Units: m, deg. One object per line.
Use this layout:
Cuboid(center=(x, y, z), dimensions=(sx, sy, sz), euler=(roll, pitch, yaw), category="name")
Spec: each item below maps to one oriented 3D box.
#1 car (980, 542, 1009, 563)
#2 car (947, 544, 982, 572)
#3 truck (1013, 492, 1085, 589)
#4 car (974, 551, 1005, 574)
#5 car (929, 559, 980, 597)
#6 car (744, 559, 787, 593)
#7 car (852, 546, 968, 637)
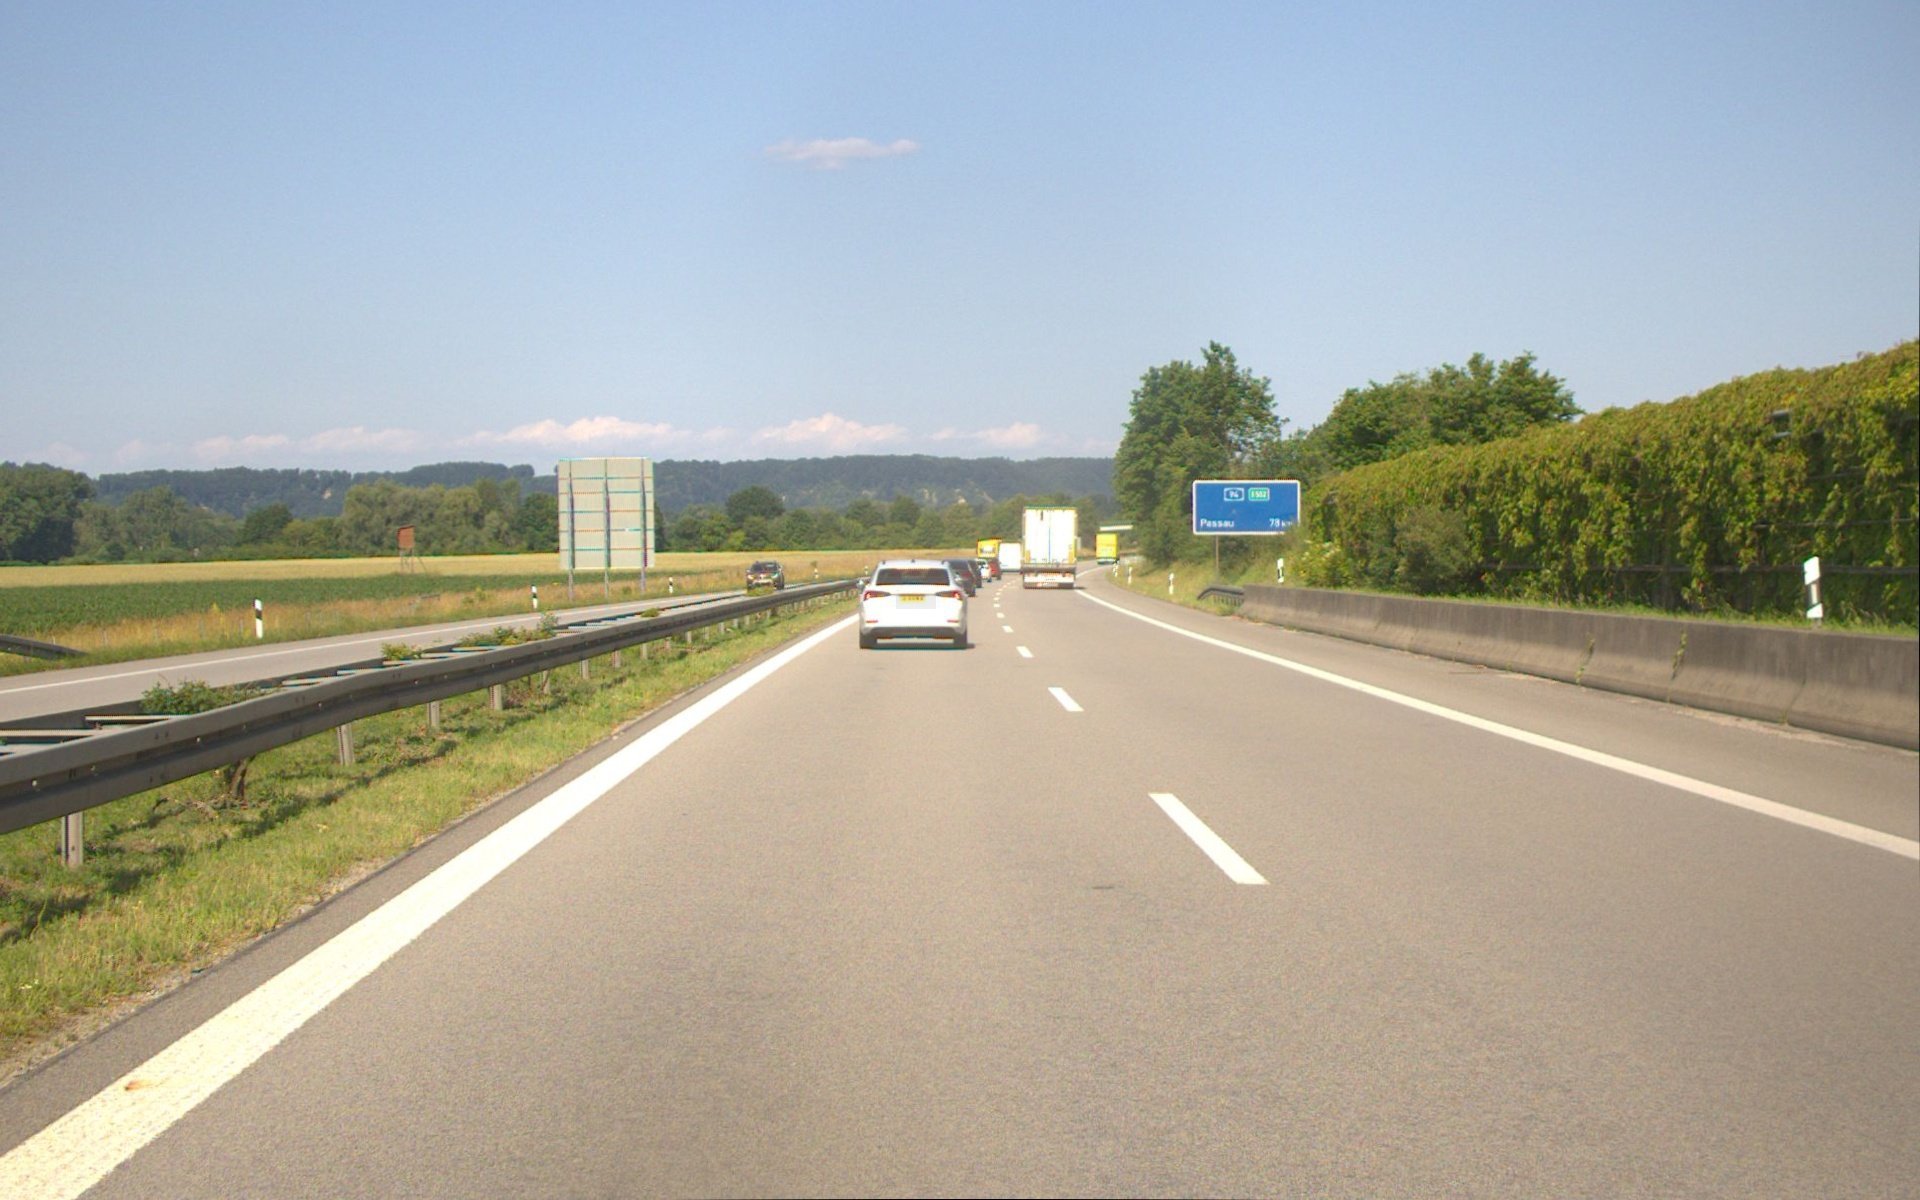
Cuboid(center=(2.319, -3.171, 229.962), dimensions=(1.771, 1.416, 4.364), euler=(0, 1, 3), category="car")
Cuboid(center=(0.216, -2.128, 172.883), dimensions=(1.771, 1.416, 4.365), euler=(0, 1, 0), category="car")
Cuboid(center=(4.330, -2.914, 169.065), dimensions=(3.152, 4.596, 8.906), euler=(-1, 1, 0), category="truck")
Cuboid(center=(1.809, -2.304, 211.233), dimensions=(1.771, 1.416, 4.364), euler=(0, 1, 2), category="car")
Cuboid(center=(-0.189, -0.873, 132.589), dimensions=(1.771, 1.416, 4.495), euler=(0, 1, 2), category="car")
Cuboid(center=(-10.491, -1.302, 185.587), dimensions=(1.993, 1.656, 4.775), euler=(-2, 1, 0), category="car")
Cuboid(center=(-0.807, -0.178, 57.556), dimensions=(1.840, 1.416, 5.255), euler=(1, 1, 0), category="car")
